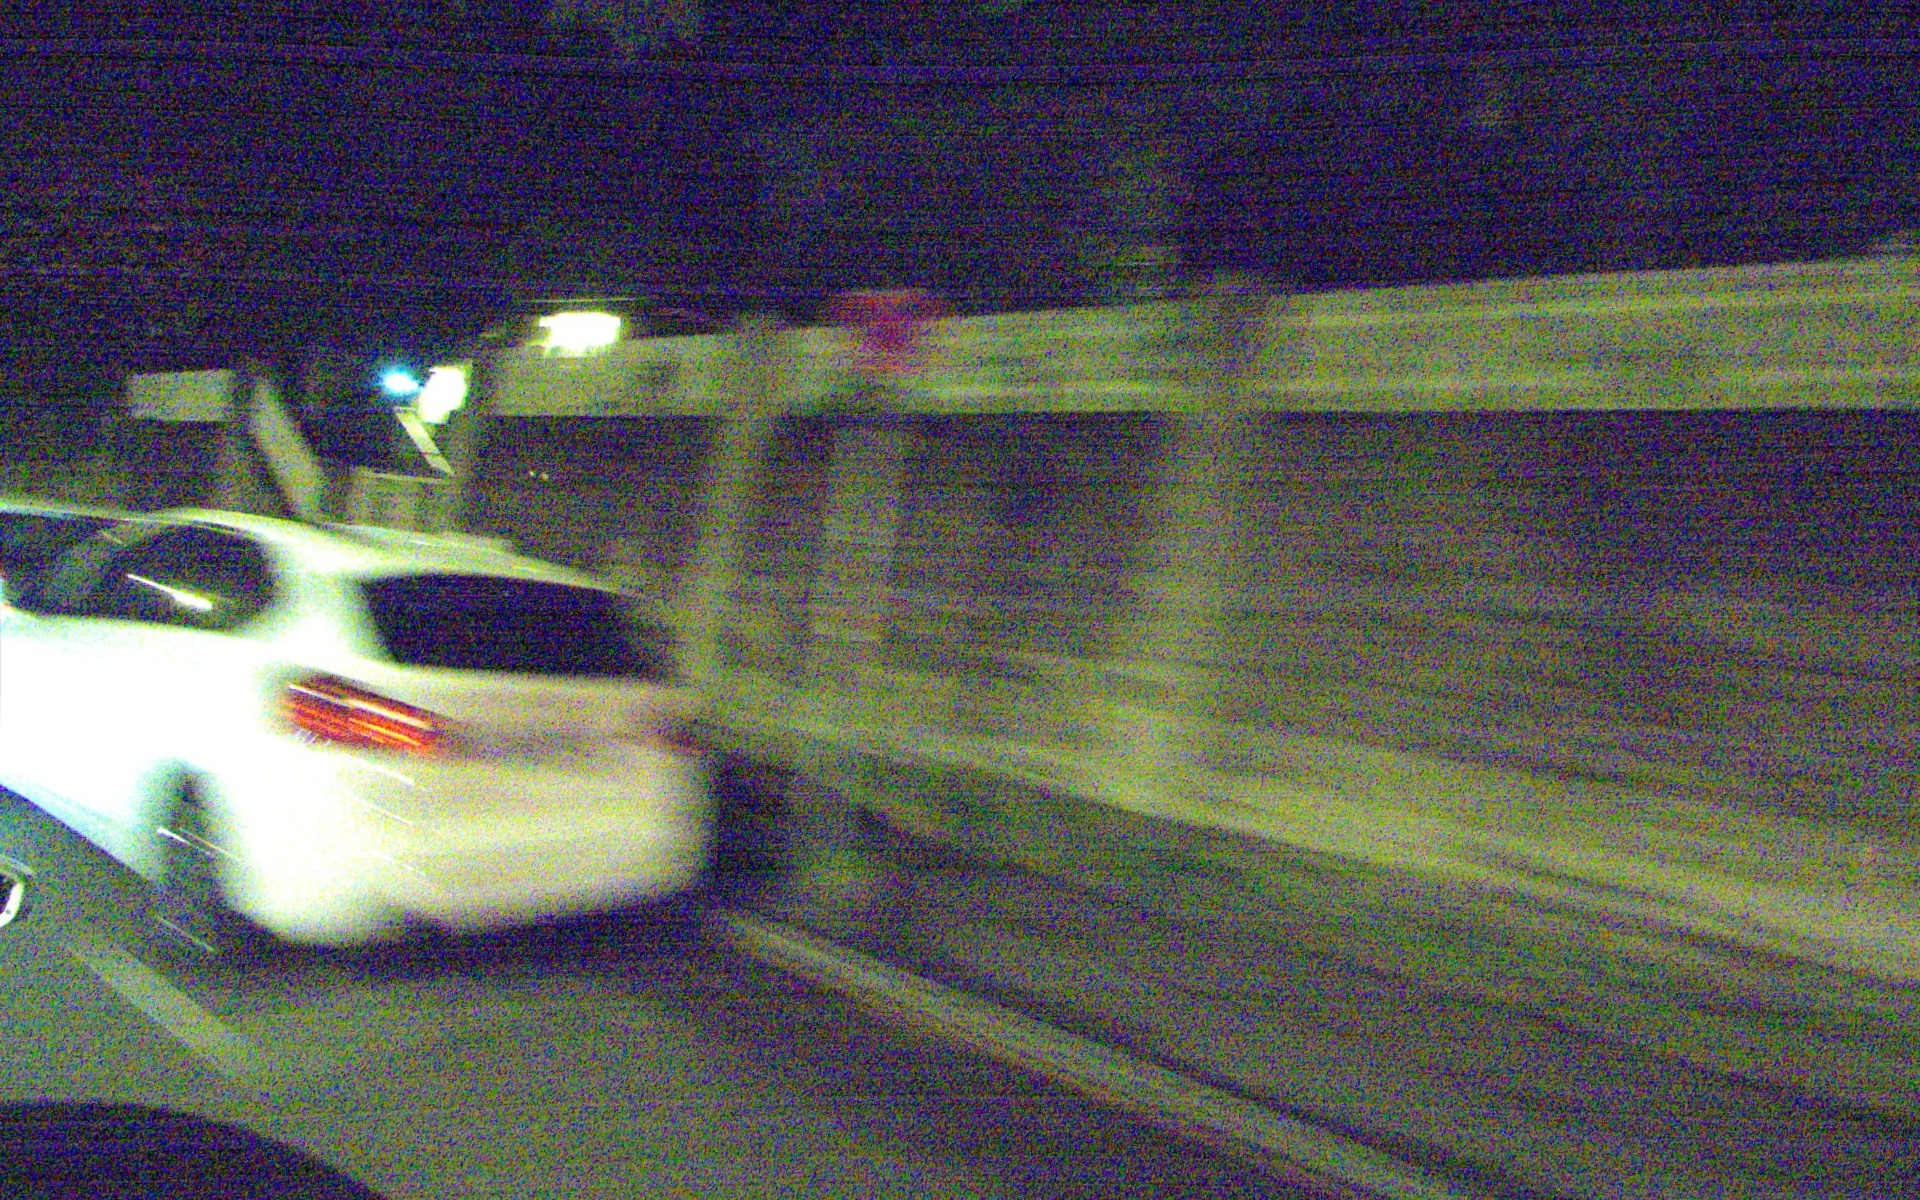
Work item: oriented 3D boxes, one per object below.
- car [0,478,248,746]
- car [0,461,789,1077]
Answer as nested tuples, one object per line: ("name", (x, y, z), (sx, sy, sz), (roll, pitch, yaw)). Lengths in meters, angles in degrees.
("car", (-6.924, -0.088, 7.200), (3.654, 1.480, 1.610), (9, 2, 31))
("car", (-3.232, 0.363, 4.784), (4.650, 1.612, 1.758), (7, -2, 33))
